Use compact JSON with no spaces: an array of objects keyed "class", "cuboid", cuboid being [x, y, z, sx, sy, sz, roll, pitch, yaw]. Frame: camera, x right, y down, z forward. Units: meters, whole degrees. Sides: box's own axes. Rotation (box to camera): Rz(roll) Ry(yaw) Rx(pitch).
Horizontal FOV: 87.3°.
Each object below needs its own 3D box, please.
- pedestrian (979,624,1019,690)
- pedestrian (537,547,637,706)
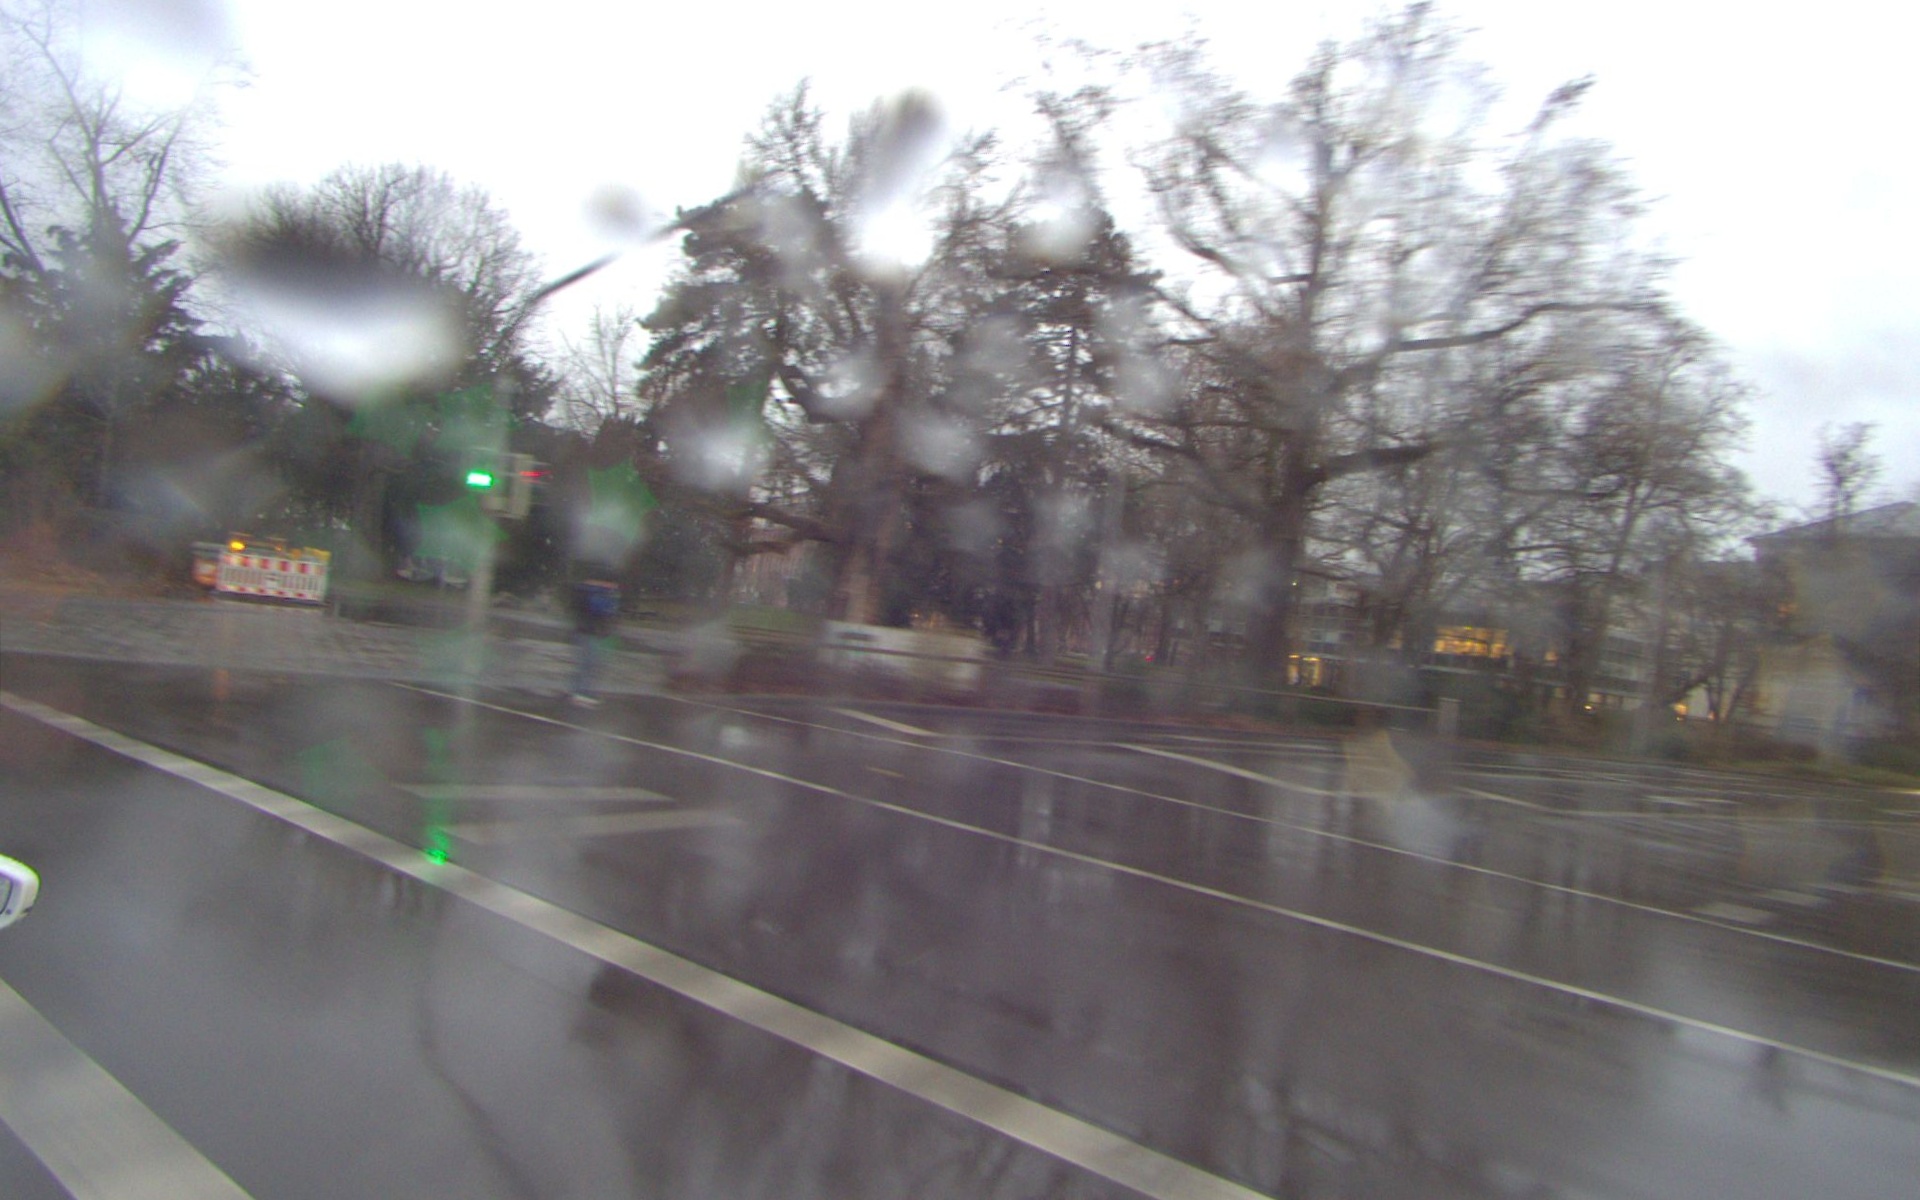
[{"class":"pedestrian","cuboid":[1.066,1.556,27.252,0.835,1.659,0.727,7,-2,8]},{"class":"pedestrian","cuboid":[-4.702,0.348,12.720,0.662,1.900,0.716,7,-2,17]}]
